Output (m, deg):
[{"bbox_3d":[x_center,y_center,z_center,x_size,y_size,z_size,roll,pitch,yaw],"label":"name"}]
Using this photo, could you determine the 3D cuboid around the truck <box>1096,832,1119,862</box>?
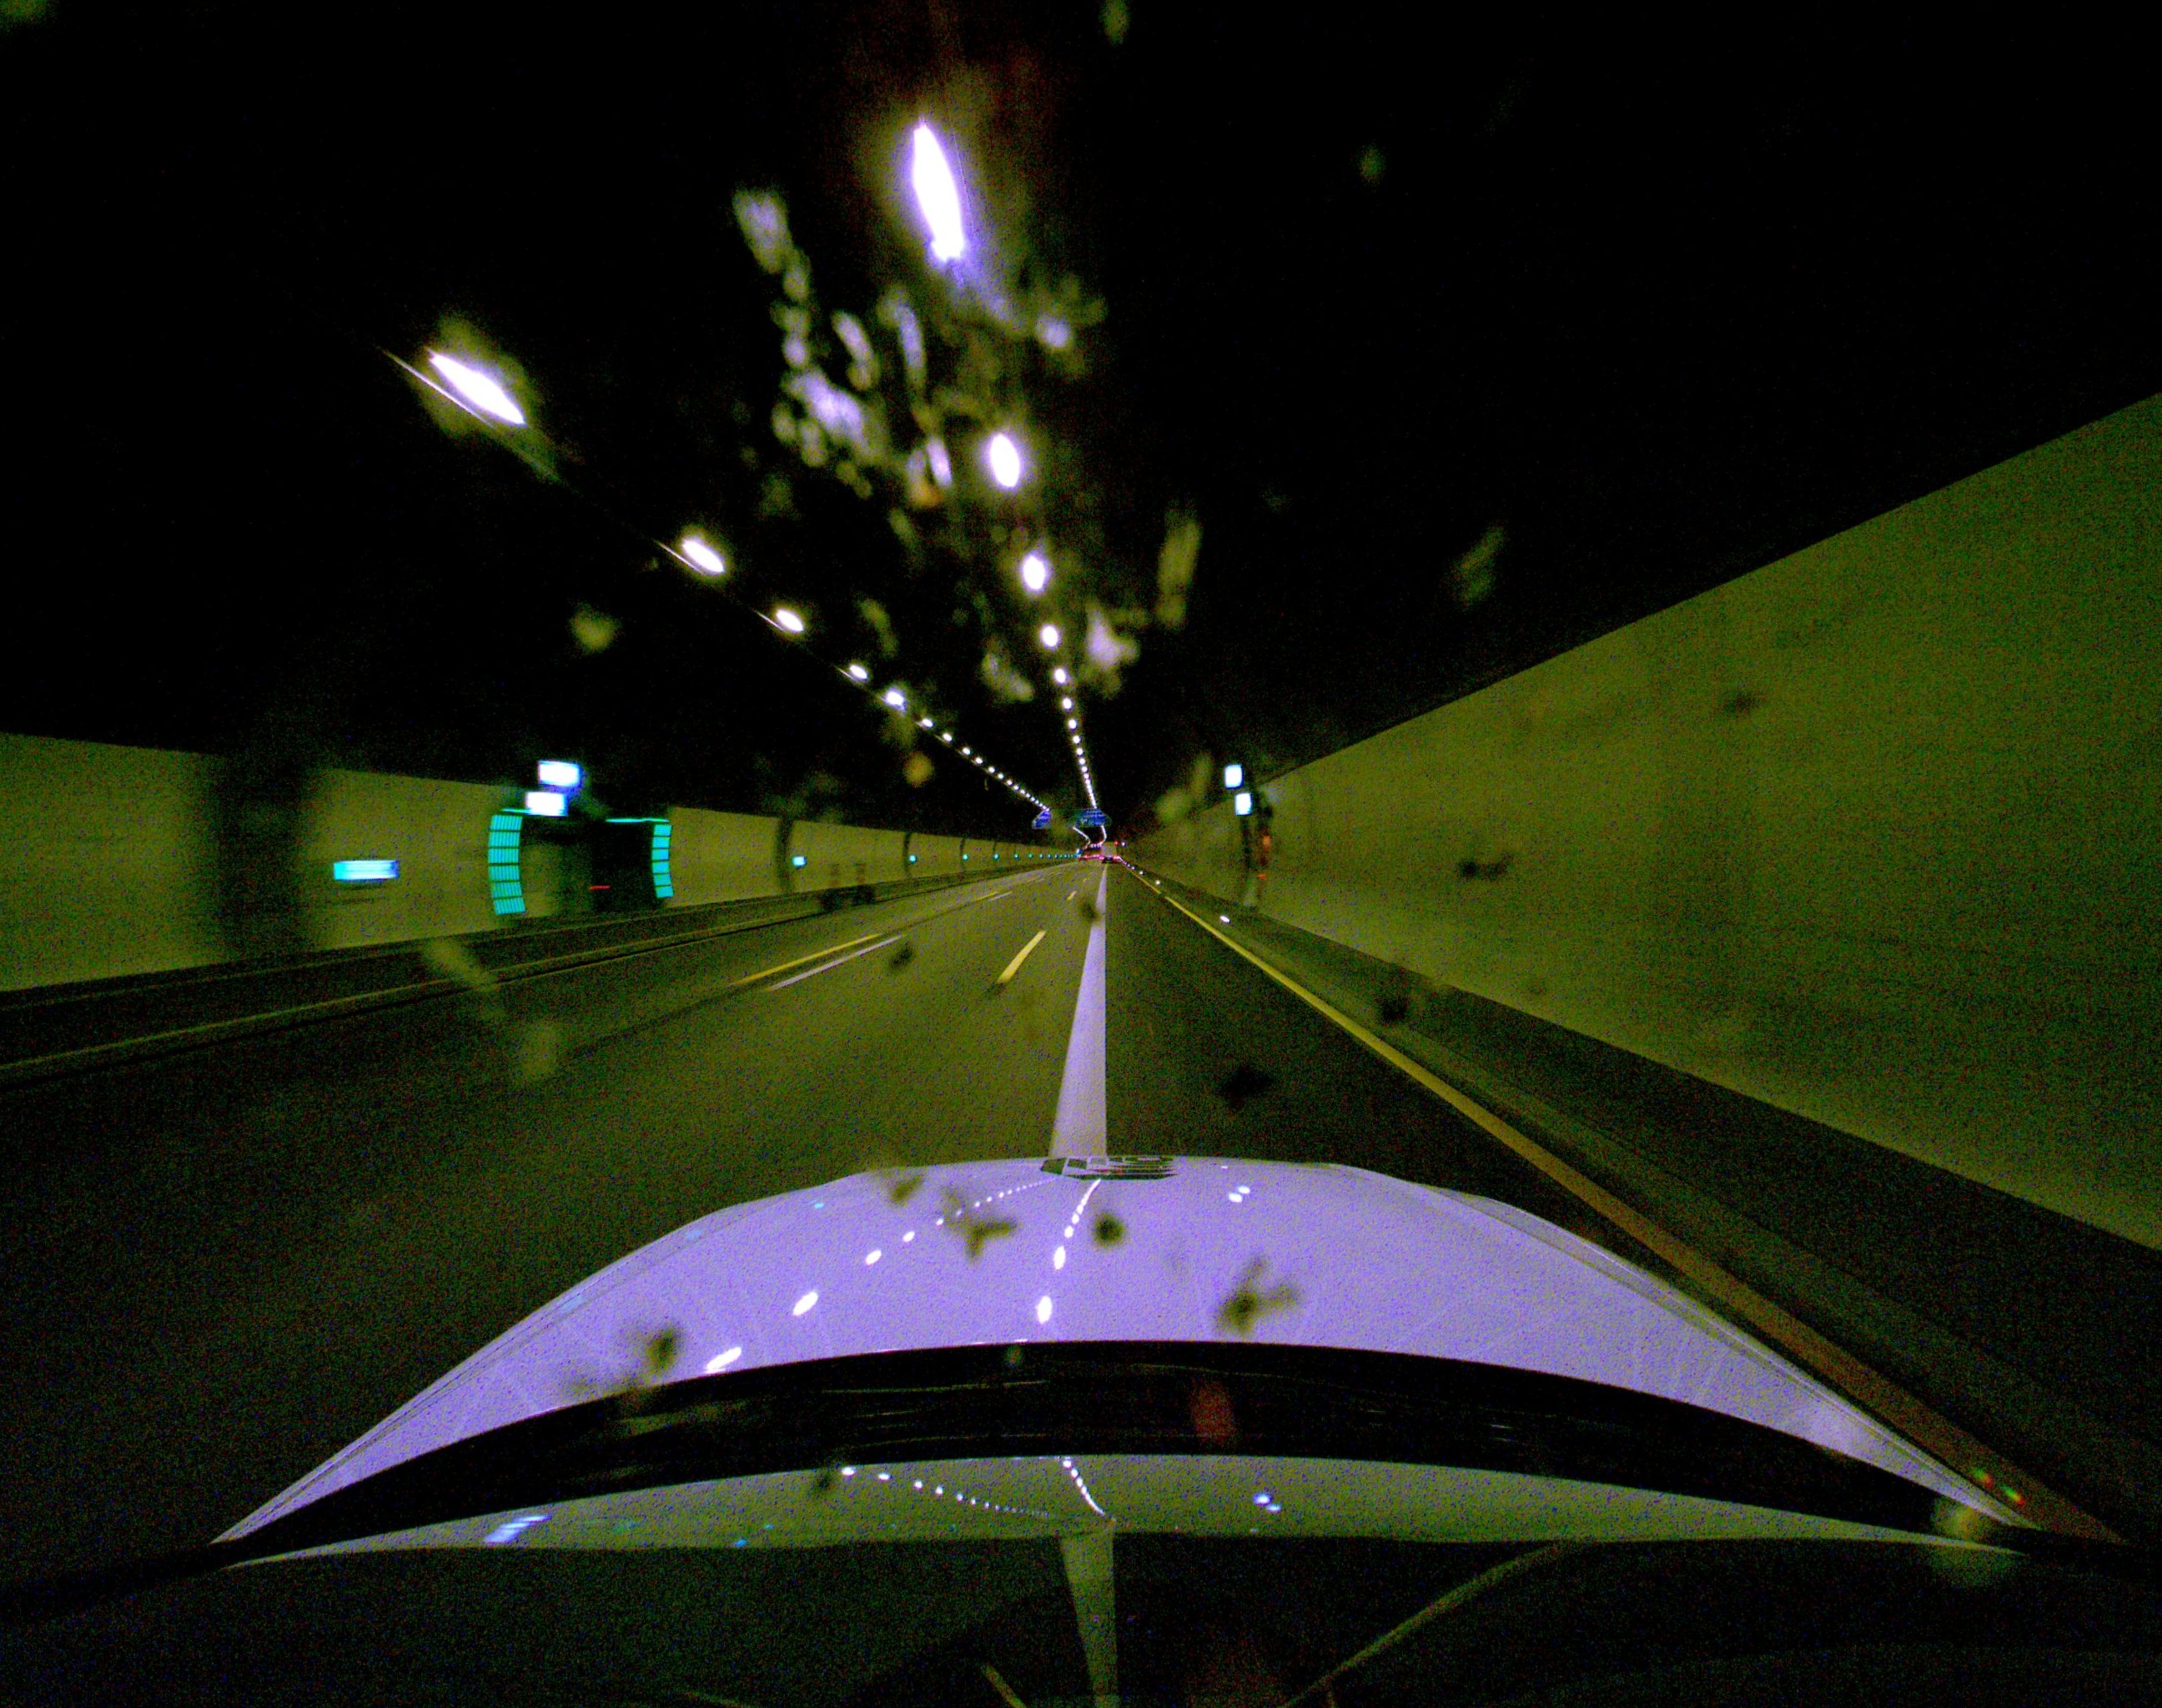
[{"bbox_3d":[4.396,-1.156,139.205,3.268,4.650,17.284,-3,0,0],"label":"truck"}]

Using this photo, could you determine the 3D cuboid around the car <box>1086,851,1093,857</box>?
[{"bbox_3d":[2.447,-0.136,229.188,1.808,1.519,3.998,-1,2,-2],"label":"car"}]

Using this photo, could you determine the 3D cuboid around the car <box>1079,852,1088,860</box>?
[{"bbox_3d":[0.553,0.442,171.888,1.807,1.618,3.999,-1,0,-1],"label":"car"}]
